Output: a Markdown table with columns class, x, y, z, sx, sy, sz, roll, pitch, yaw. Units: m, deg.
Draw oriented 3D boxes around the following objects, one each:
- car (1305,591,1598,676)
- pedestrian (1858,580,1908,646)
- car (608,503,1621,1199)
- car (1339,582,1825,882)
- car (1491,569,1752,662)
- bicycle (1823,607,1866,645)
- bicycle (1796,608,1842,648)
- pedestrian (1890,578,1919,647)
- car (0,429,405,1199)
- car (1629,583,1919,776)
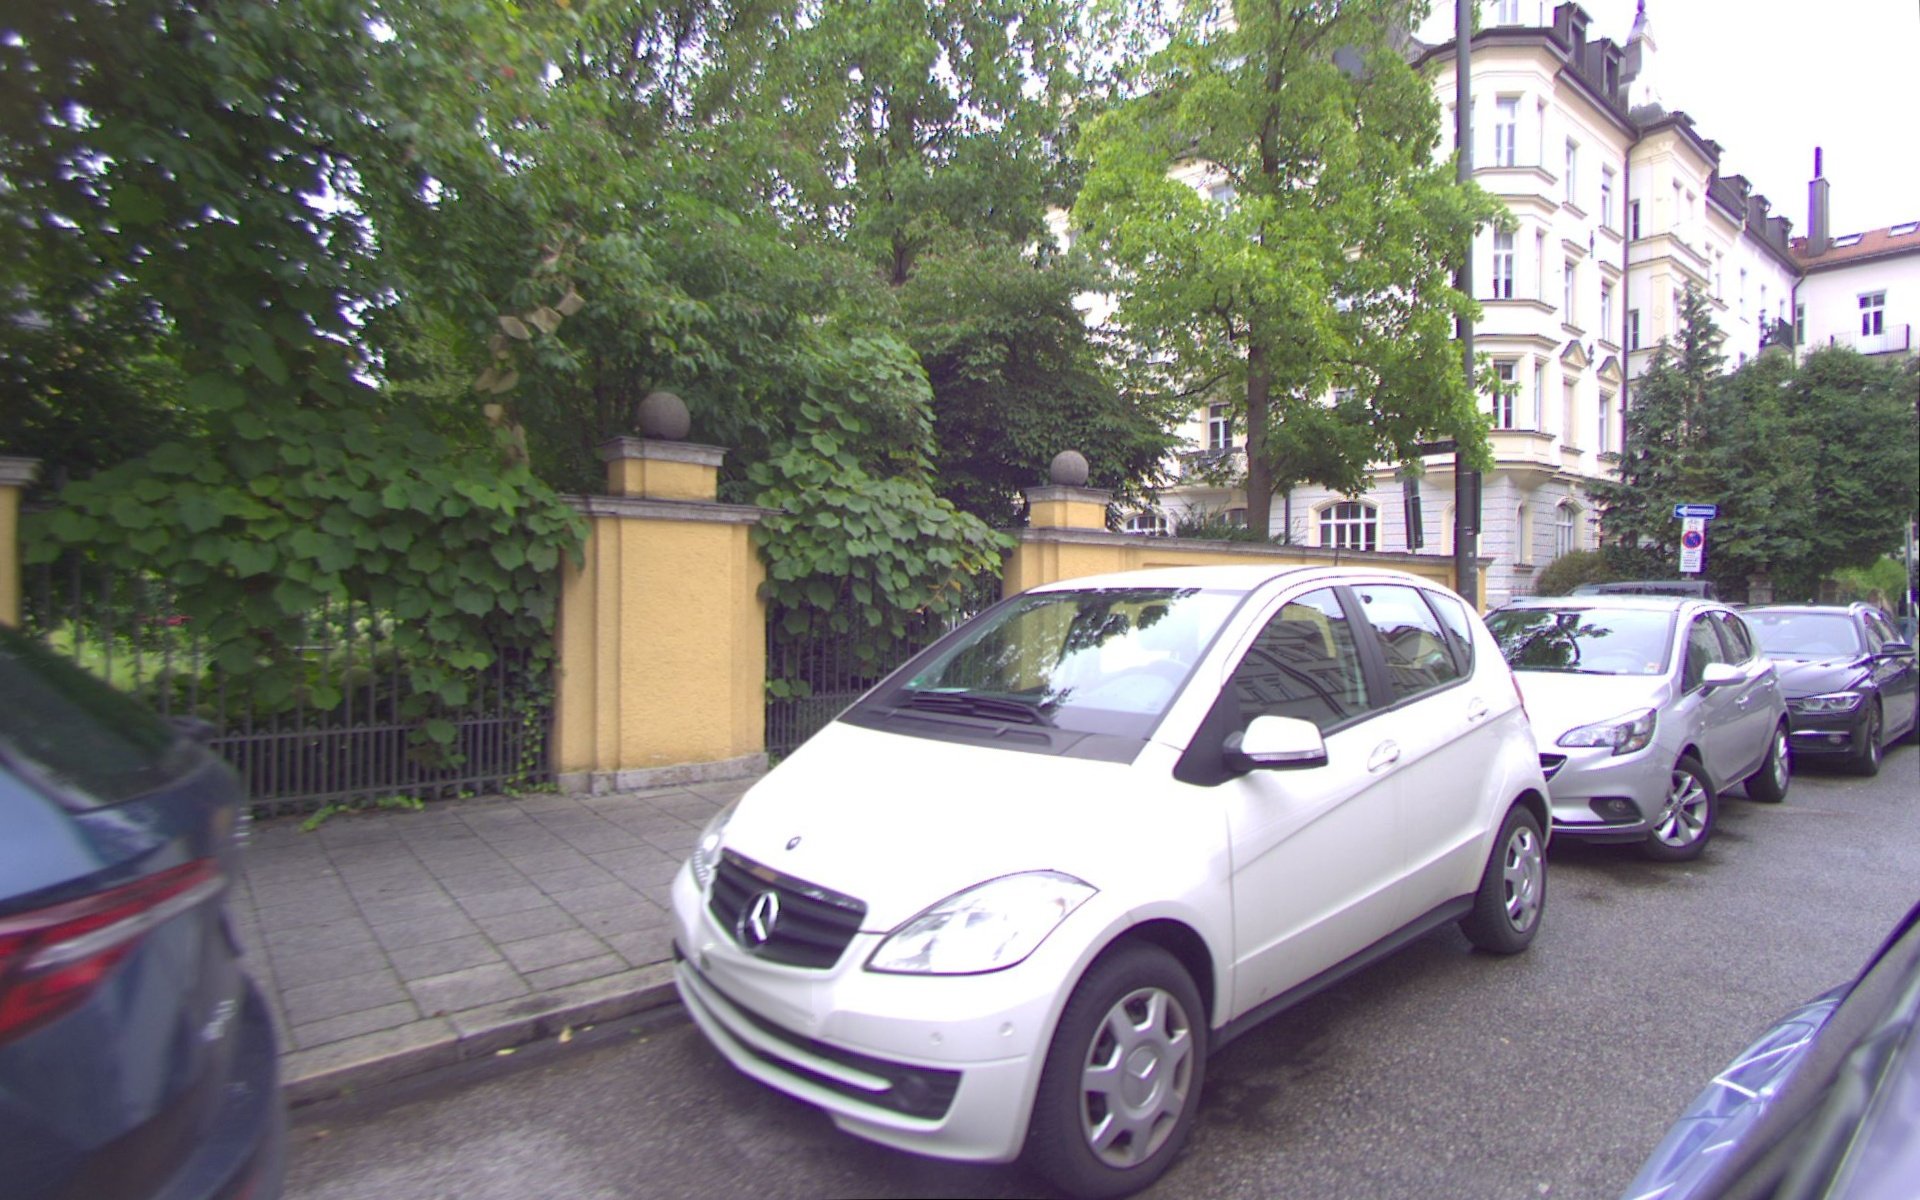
| class | x | y | z | sx | sy | sz | roll | pitch | yaw |
| --- | --- | --- | --- | --- | --- | --- | --- | --- | --- |
| car | 9.558 | 0.575 | 20.006 | 4.940 | 1.430 | 1.715 | 1 | 1 | 44 |
| pedestrian | 24.727 | 0.332 | 27.115 | 1.033 | 1.711 | 0.875 | 0 | 0 | -40 |
| car | 0.995 | 0.578 | 4.079 | 4.244 | 1.590 | 1.716 | 0 | 1 | -41 |
| car | 4.459 | 0.629 | 6.984 | 4.111 | 1.471 | 1.716 | 0 | 1 | -41 |
| car | 14.793 | 0.307 | 22.836 | 1.713 | 1.896 | 4.668 | 3 | -2 | -44 |
| bicycle | 24.089 | 0.706 | 27.566 | 1.745 | 0.997 | 0.449 | 0 | 0 | -34 |
| bicycle | 22.158 | 0.709 | 26.110 | 1.745 | 0.997 | 0.449 | 0 | 0 | -34 |
| pedestrian | 25.082 | 0.311 | 26.548 | 1.033 | 1.778 | 0.875 | 0 | 0 | -40 |
| car | -3.073 | 0.597 | 0.561 | 4.609 | 1.590 | 1.716 | 0 | 1 | -41 |
| car | 8.389 | 0.588 | 10.027 | 4.869 | 1.471 | 1.716 | 0 | 1 | -41 |
